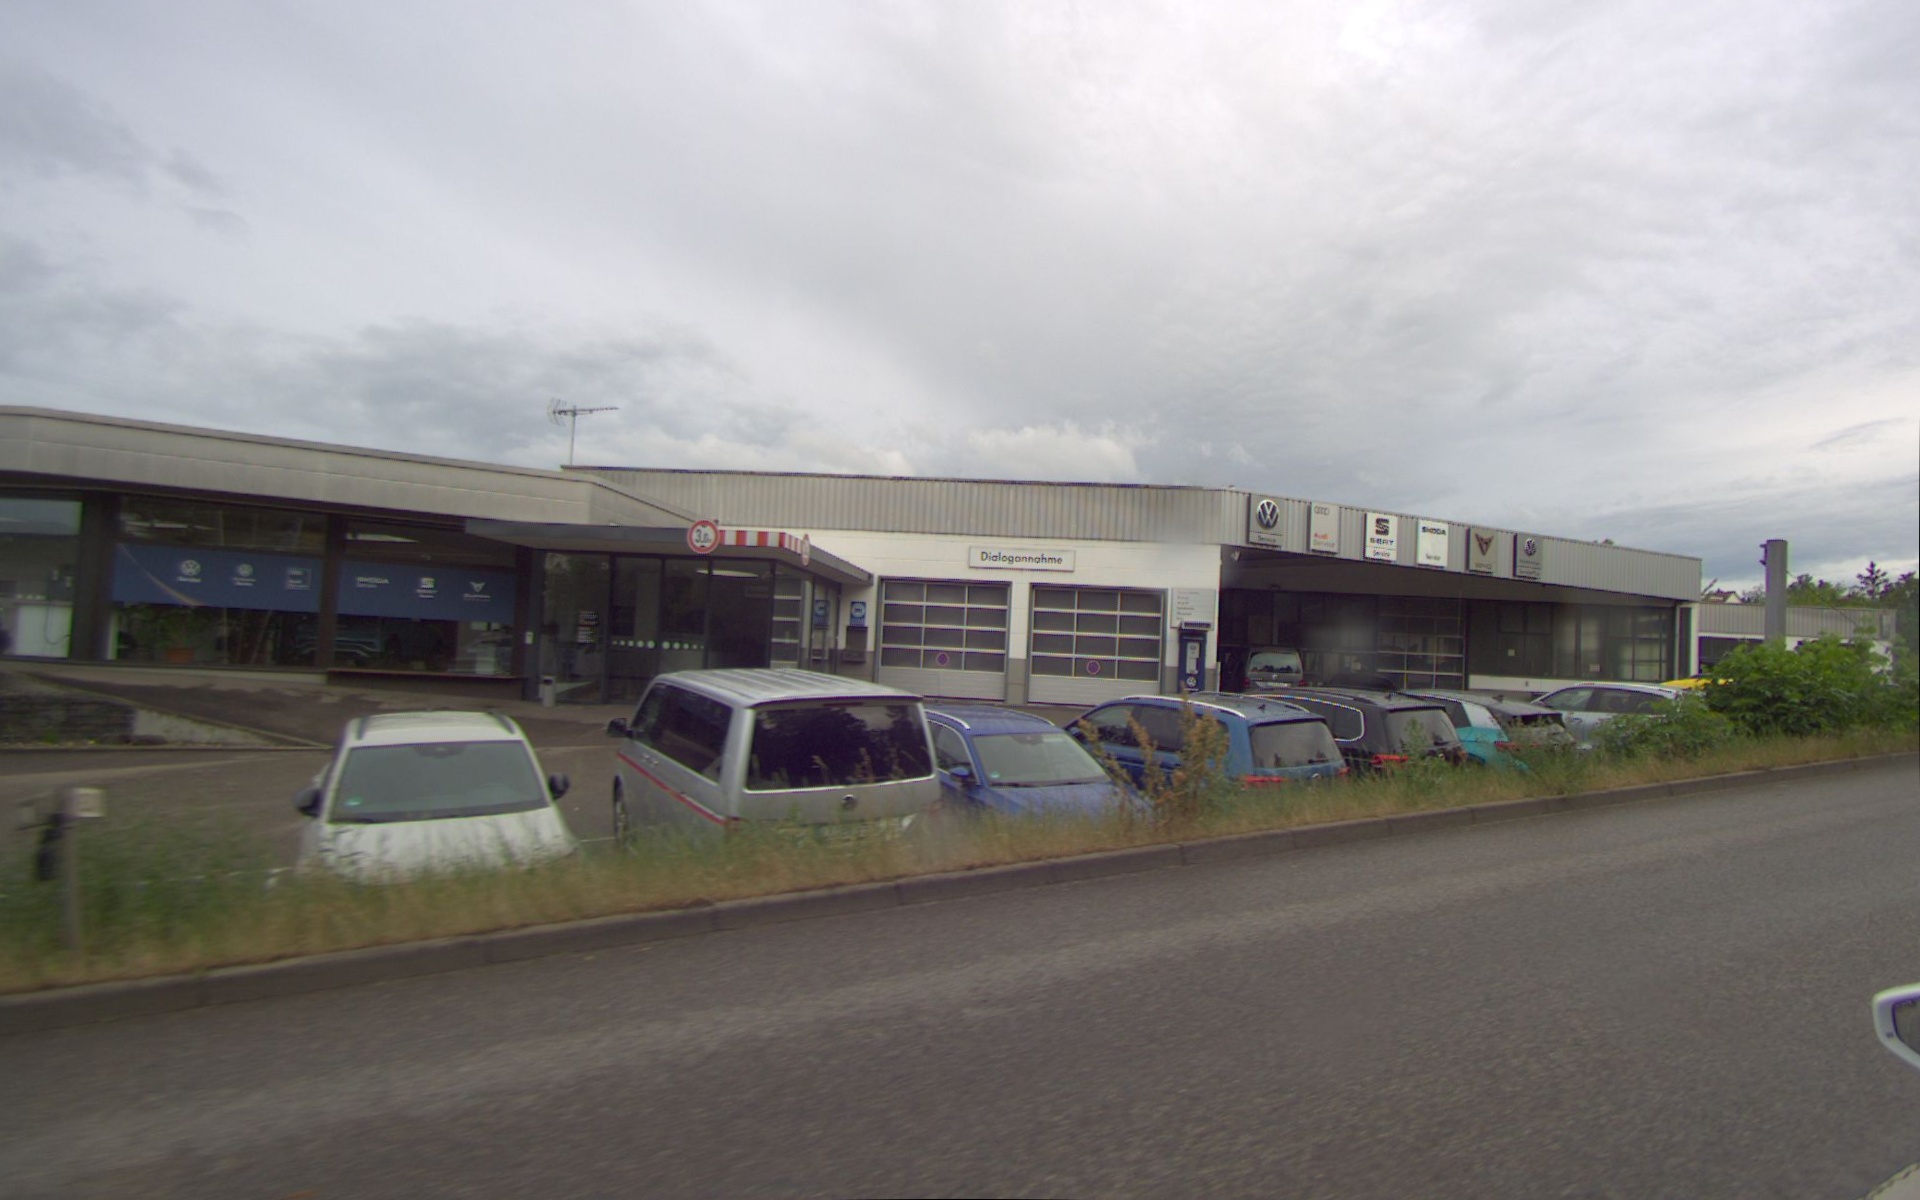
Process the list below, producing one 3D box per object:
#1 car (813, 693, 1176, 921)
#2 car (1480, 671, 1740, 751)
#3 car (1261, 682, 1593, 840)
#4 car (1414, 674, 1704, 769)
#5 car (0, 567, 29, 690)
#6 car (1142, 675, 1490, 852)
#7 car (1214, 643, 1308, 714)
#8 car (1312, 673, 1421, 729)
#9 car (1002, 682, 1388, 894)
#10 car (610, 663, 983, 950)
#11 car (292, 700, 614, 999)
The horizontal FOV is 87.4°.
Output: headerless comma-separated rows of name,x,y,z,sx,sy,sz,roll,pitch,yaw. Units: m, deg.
car,0.134,2.006,11.079,1.979,1.717,4.391,2,-3,-30
car,12.931,2.140,20.242,1.785,1.308,4.040,2,-3,-32
car,6.799,2.237,15.077,1.854,1.821,4.203,2,-3,-32
car,10.819,2.121,18.453,1.854,1.386,4.203,2,-3,-32
car,-16.285,0.365,14.259,4.198,1.823,1.394,2,-3,-28
car,4.574,2.005,13.543,1.854,1.821,4.203,2,-3,-32
car,9.138,2.428,30.902,1.948,1.985,4.490,1,-5,6
car,12.149,2.985,30.306,1.914,1.434,4.025,0,-2,4
car,2.554,1.992,12.018,1.980,1.821,4.388,2,-3,-32
car,-1.751,1.542,9.181,1.912,1.821,4.391,2,-3,-30
car,-4.147,1.683,8.101,1.803,1.497,3.990,2,-3,-30
